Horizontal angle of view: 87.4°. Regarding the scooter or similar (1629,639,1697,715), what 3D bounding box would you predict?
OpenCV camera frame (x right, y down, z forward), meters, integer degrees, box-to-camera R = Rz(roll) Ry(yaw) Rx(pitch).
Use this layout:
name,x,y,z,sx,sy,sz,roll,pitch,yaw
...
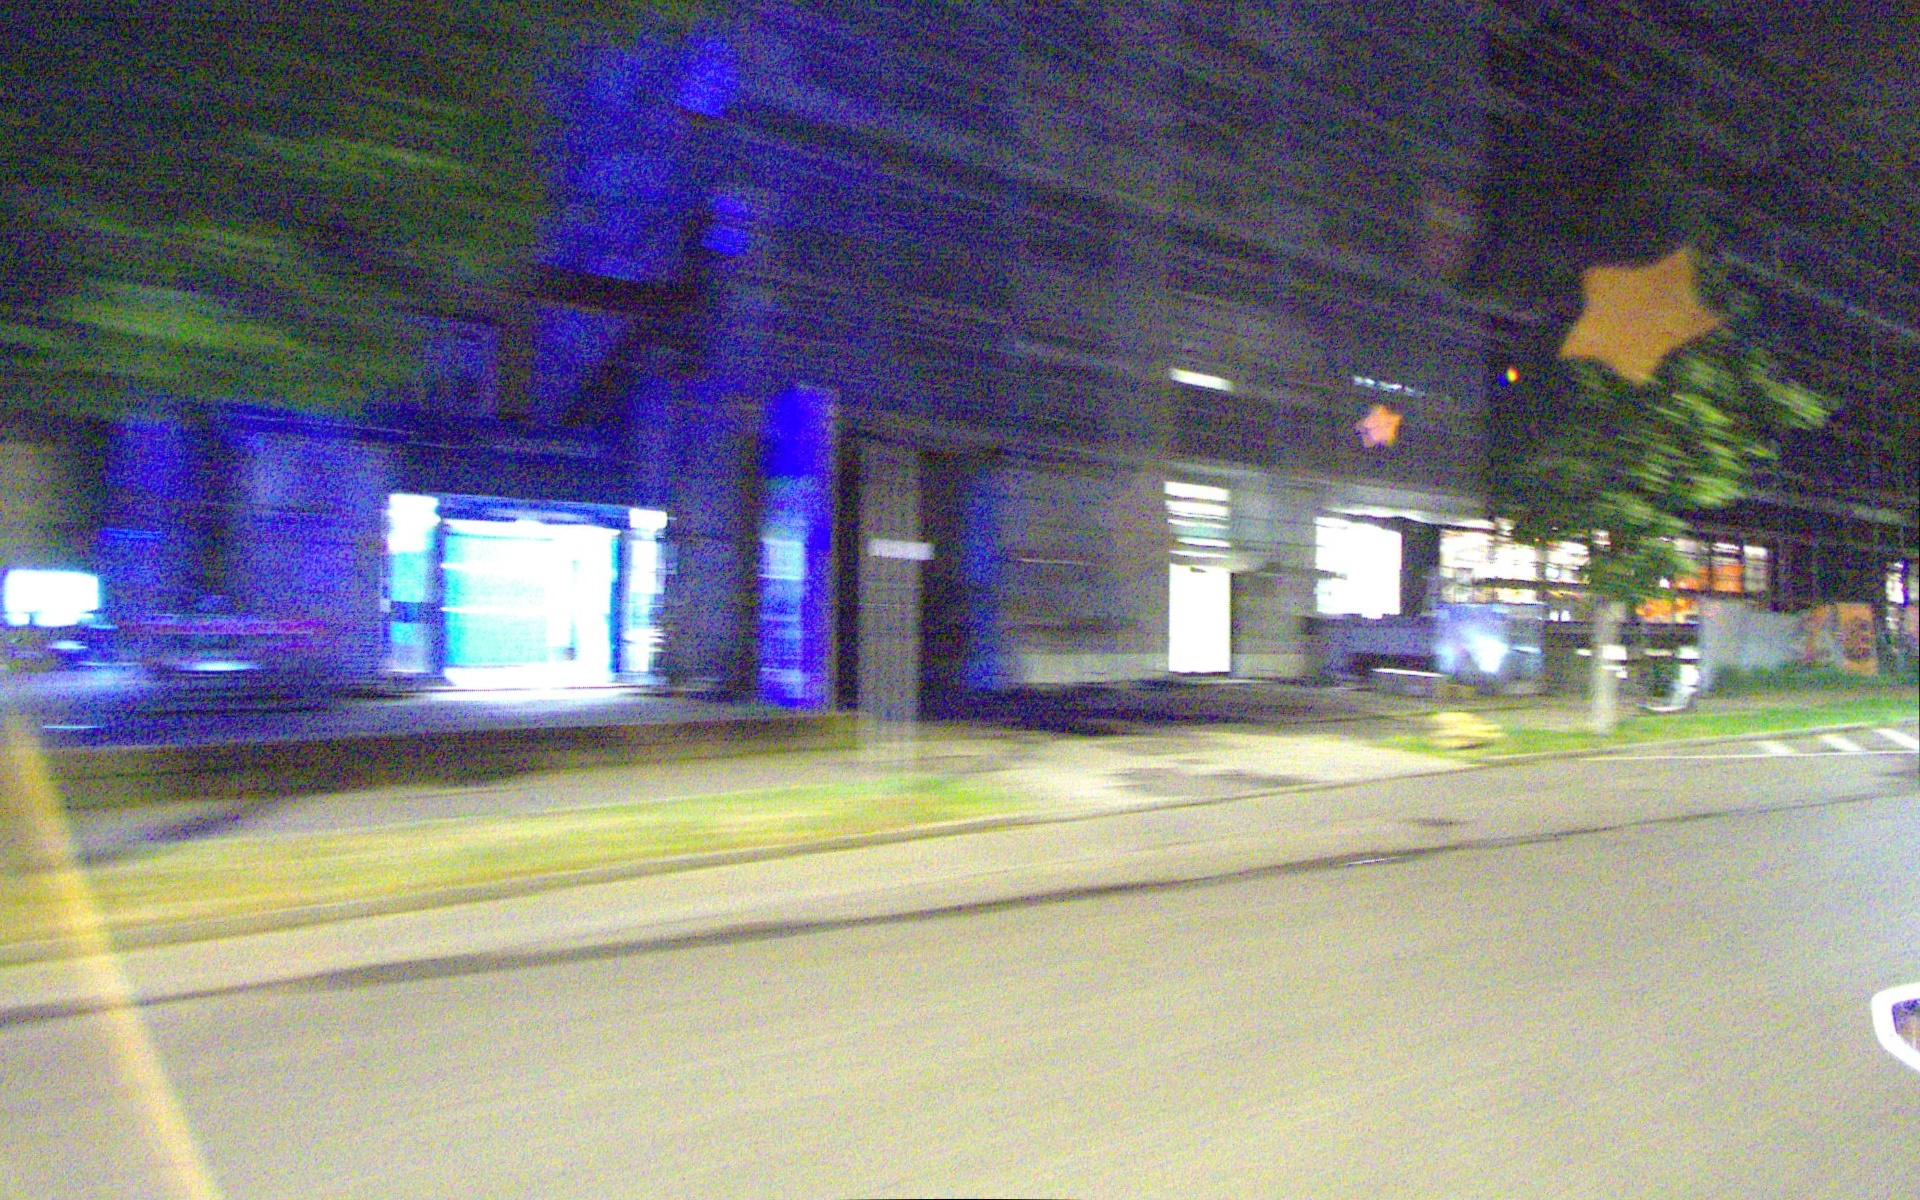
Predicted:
name,x,y,z,sx,sy,sz,roll,pitch,yaw
scooter or similar,11.583,1.252,16.546,1.411,1.220,0.365,2,-2,-31

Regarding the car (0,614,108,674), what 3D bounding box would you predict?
name,x,y,z,sx,sy,sz,roll,pitch,yaw
car,-21.195,0.991,23.371,1.556,1.282,3.132,1,-2,-30
